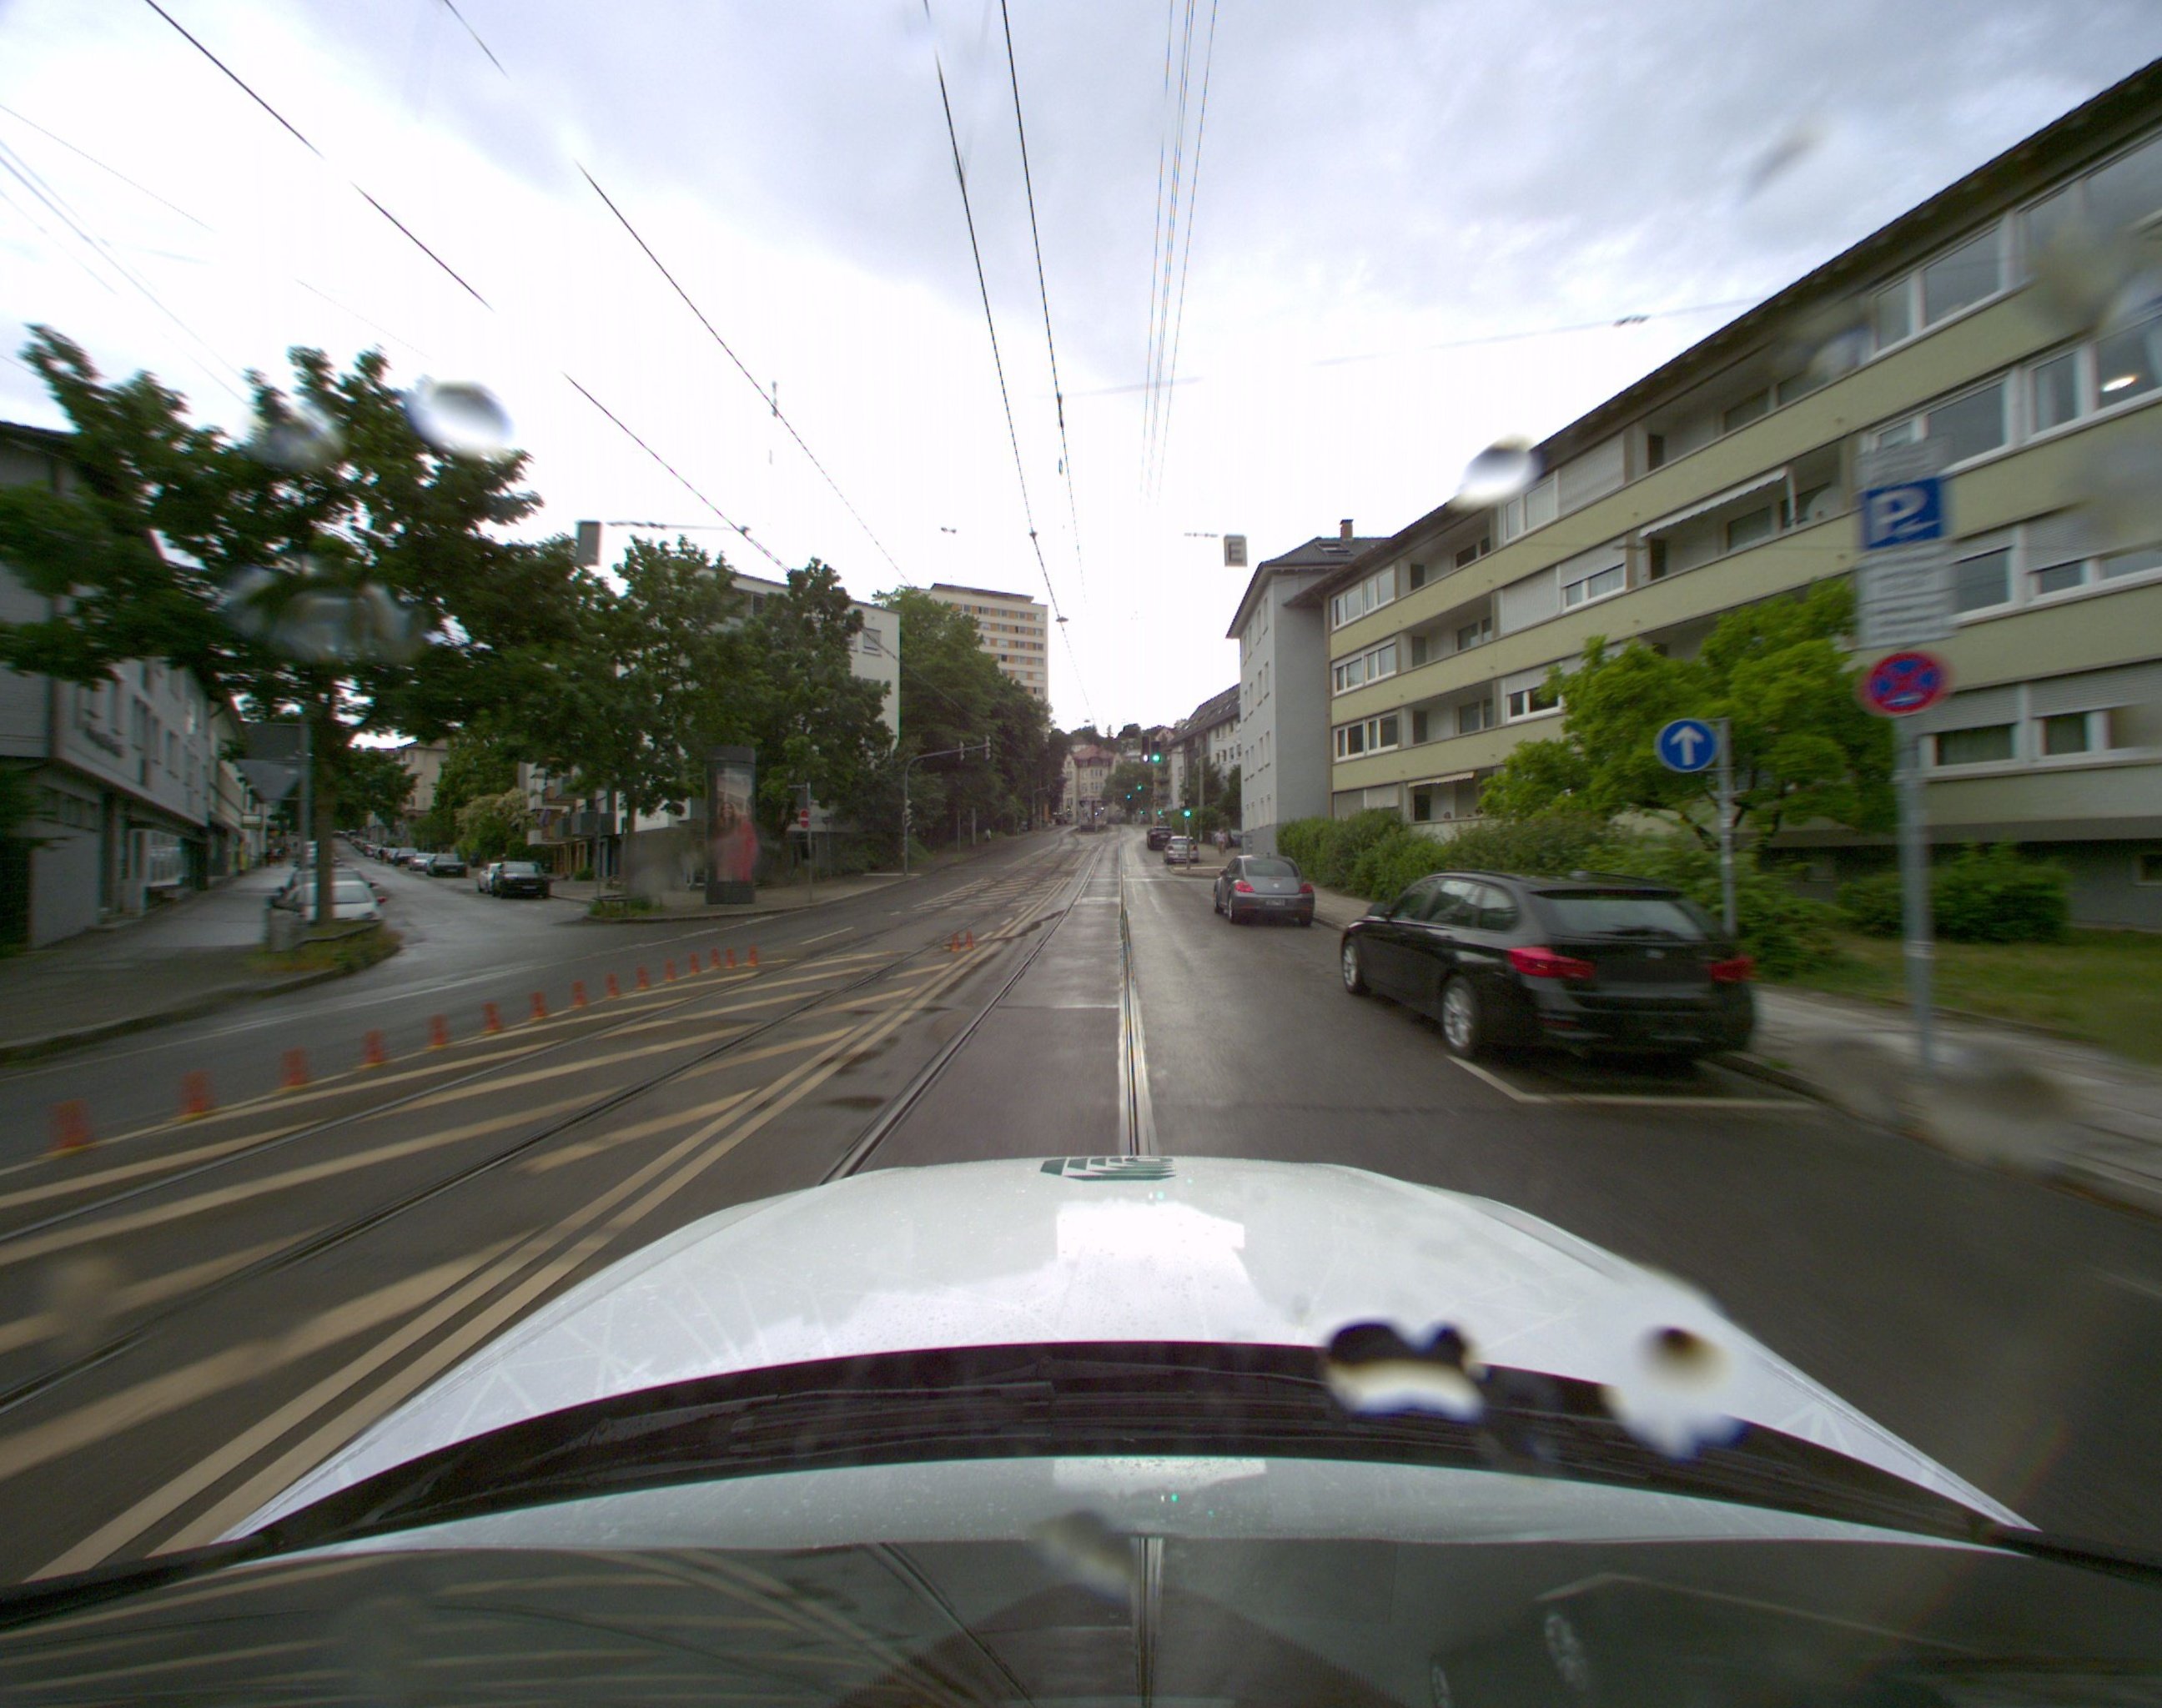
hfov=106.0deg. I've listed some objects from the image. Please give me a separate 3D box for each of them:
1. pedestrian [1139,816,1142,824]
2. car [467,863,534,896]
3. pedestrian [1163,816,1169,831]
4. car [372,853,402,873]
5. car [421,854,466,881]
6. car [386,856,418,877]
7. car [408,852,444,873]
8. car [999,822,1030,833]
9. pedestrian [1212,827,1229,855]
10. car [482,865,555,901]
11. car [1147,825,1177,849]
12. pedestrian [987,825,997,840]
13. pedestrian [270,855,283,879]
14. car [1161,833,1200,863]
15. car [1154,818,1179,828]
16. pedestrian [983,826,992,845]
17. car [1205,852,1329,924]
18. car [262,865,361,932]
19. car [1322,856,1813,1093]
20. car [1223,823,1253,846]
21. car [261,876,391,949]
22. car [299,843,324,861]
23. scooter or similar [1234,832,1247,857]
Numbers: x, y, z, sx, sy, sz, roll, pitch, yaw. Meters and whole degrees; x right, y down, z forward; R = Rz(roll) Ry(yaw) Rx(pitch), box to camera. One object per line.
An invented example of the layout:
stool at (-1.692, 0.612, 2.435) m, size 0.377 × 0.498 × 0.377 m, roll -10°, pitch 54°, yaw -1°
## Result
pedestrian at (11.978, -6.857, 163.136) m, size 0.577 × 1.467 × 0.543 m, roll 1°, pitch -2°, yaw -6°
car at (-29.100, 1.251, 40.750) m, size 2.011 × 1.596 × 4.615 m, roll 2°, pitch -2°, yaw -45°
pedestrian at (9.780, -3.492, 93.765) m, size 0.640 × 1.628 × 0.702 m, roll 0°, pitch 1°, yaw 13°
car at (-70.948, 0.943, 83.215) m, size 2.011 × 2.014 × 3.950 m, roll 2°, pitch -2°, yaw -45°
car at (-44.409, 0.954, 56.709) m, size 2.011 × 1.860 × 3.950 m, roll 2°, pitch -2°, yaw -45°
car at (-65.092, 1.206, 78.064) m, size 2.011 × 2.014 × 3.950 m, roll 2°, pitch -2°, yaw -45°
car at (-57.024, 0.742, 70.865) m, size 2.011 × 1.816 × 3.950 m, roll 2°, pitch -2°, yaw -45°
car at (-9.527, -3.747, 116.640) m, size 3.951 × 1.406 × 1.692 m, roll 0°, pitch -2°, yaw 25°
pedestrian at (8.140, -0.783, 47.603) m, size 0.878 × 1.582 × 0.803 m, roll -2°, pitch 4°, yaw 4°
car at (-25.299, 1.271, 36.563) m, size 2.011 × 1.518 × 3.950 m, roll 2°, pitch -2°, yaw -45°
car at (5.921, -1.264, 60.075) m, size 1.899 × 1.641 × 4.692 m, roll 1°, pitch 2°, yaw 2°
pedestrian at (-10.196, -2.499, 93.600) m, size 0.906 × 1.677 × 0.745 m, roll -1°, pitch -2°, yaw 31°
pedestrian at (-70.561, 1.140, 71.457) m, size 0.744 × 2.014 × 0.732 m, roll 2°, pitch -2°, yaw -44°
car at (5.300, -0.367, 43.756) m, size 1.698 × 1.433 × 4.104 m, roll 1°, pitch 2°, yaw 2°
car at (14.323, -5.134, 136.449) m, size 3.972 × 1.645 × 1.808 m, roll 0°, pitch 0°, yaw 1°
pedestrian at (-7.873, -1.590, 68.739) m, size 0.581 × 1.600 × 0.869 m, roll 2°, pitch 1°, yaw -1°
car at (4.135, 0.688, 18.804) m, size 1.933 × 1.464 × 4.206 m, roll 0°, pitch 0°, yaw 0°
car at (-21.665, 1.156, 22.929) m, size 1.852 × 1.706 × 4.583 m, roll 1°, pitch -1°, yaw -44°
car at (3.778, 0.770, 7.500) m, size 1.851 × 1.487 × 4.646 m, roll 0°, pitch 0°, yaw 1°
car at (11.980, -1.463, 62.340) m, size 1.713 × 1.515 × 4.205 m, roll 0°, pitch -1°, yaw 2°
car at (-17.535, 1.274, 19.030) m, size 2.011 × 1.481 × 4.110 m, roll 2°, pitch -2°, yaw -42°
car at (-89.245, -0.202, 94.435) m, size 2.011 × 2.014 × 3.950 m, roll 2°, pitch -2°, yaw -45°
scooter or similar at (8.682, -0.518, 44.308) m, size 0.571 × 1.249 × 1.614 m, roll 0°, pitch 4°, yaw 8°
